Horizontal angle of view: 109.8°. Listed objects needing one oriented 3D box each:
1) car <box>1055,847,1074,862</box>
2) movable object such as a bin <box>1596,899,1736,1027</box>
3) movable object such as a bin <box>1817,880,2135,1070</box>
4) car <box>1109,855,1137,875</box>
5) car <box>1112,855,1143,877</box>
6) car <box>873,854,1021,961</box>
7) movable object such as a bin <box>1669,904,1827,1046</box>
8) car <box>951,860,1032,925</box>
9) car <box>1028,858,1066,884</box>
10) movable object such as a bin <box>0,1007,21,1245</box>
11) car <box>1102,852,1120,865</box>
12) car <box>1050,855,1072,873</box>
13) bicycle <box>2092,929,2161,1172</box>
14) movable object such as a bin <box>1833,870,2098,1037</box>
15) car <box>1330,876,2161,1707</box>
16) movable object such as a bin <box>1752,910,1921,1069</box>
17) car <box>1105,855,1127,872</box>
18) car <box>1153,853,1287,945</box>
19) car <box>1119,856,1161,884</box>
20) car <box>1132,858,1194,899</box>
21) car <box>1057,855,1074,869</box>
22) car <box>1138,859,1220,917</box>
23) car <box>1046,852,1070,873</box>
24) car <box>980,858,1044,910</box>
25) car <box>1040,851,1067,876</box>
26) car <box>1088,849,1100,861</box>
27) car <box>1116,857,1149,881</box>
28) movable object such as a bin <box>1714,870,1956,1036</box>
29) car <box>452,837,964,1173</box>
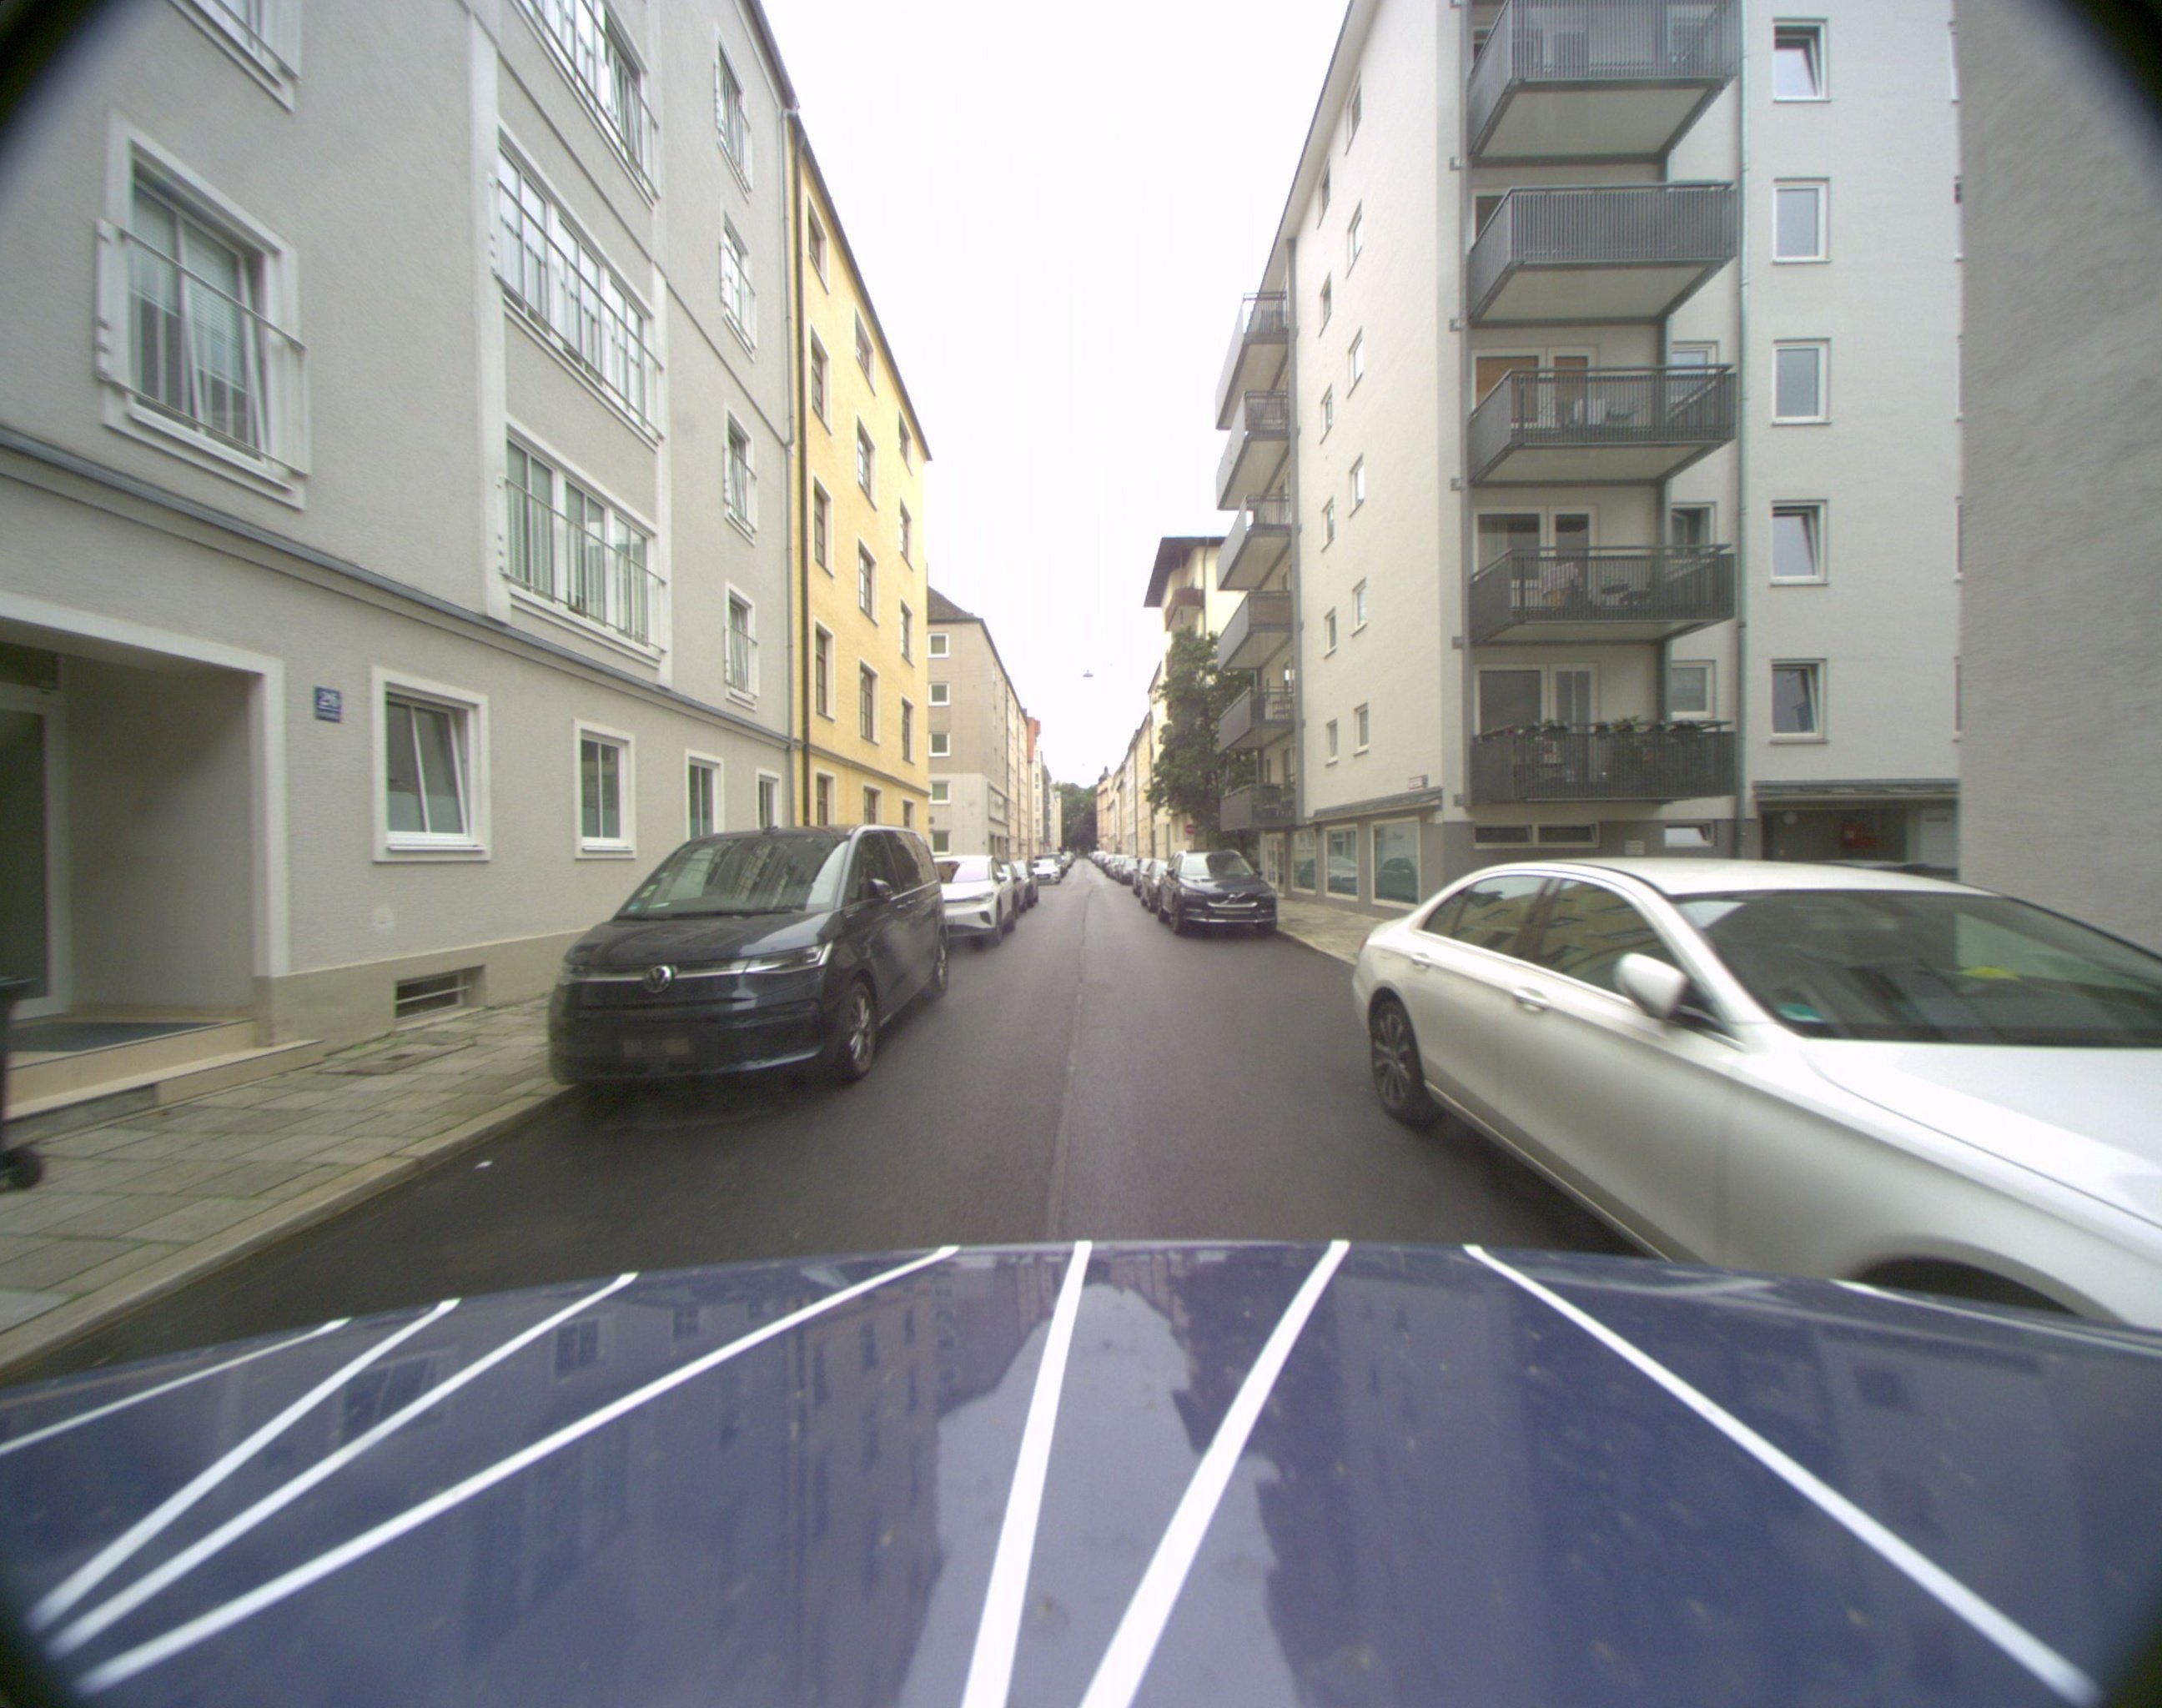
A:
[{"bbox_3d":[-1.764,0.056,82.280,1.896,1.621,4.296,-1,0,0],"label":"car"},{"bbox_3d":[5.384,0.977,7.030,0.770,1.070,0.678,-1,1,-5],"label":"movable object such as a bin"},{"bbox_3d":[6.705,0.857,5.792,1.123,1.256,1.097,-1,1,2],"label":"movable object such as a bin"},{"bbox_3d":[3.124,0.801,57.644,1.896,1.444,4.296,-1,0,0],"label":"car"},{"bbox_3d":[3.156,0.789,52.065,1.896,1.444,4.296,-1,0,0],"label":"car"},{"bbox_3d":[-2.346,0.873,14.563,1.966,1.664,4.541,-1,0,0],"label":"car"},{"bbox_3d":[5.549,0.979,6.355,0.770,1.070,0.635,-1,1,-5],"label":"movable object such as a bin"},{"bbox_3d":[-2.296,0.963,20.381,1.691,1.496,3.856,-1,0,0],"label":"car"},{"bbox_3d":[-1.954,0.962,44.610,1.972,1.369,4.296,-1,0,0],"label":"car"},{"bbox_3d":[-5.225,1.227,3.167,0.797,1.048,0.546,-1,1,-1],"label":"movable object such as a bin"},{"bbox_3d":[3.421,0.494,86.174,1.896,1.444,4.296,-1,0,0],"label":"car"},{"bbox_3d":[-1.832,0.897,70.130,1.896,1.621,4.296,-1,0,0],"label":"car"},{"bbox_3d":[5.415,0.957,3.050,0.405,1.132,1.683,-1,1,-4],"label":"bicycle"},{"bbox_3d":[8.047,0.856,7.003,1.092,1.366,1.153,-1,1,2],"label":"movable object such as a bin"},{"bbox_3d":[2.641,0.897,2.761,1.917,1.429,4.808,-1,0,0],"label":"car"},{"bbox_3d":[5.663,0.988,5.726,0.692,1.070,0.604,-1,1,-5],"label":"movable object such as a bin"},{"bbox_3d":[3.170,0.862,69.737,1.896,1.444,4.296,-1,0,0],"label":"car"},{"bbox_3d":[2.717,0.808,15.915,1.972,1.597,4.540,-1,0,0],"label":"car"},{"bbox_3d":[3.121,0.842,41.101,1.972,1.369,4.296,-1,0,0],"label":"car"},{"bbox_3d":[3.104,0.896,29.609,1.972,1.391,4.296,-1,0,0],"label":"car"},{"bbox_3d":[-1.849,0.938,90.936,1.896,1.621,4.296,-1,0,0],"label":"car"},{"bbox_3d":[2.712,0.887,21.855,1.818,1.433,4.296,-1,0,0],"label":"car"},{"bbox_3d":[-1.921,0.688,64.404,1.896,1.751,4.296,-1,0,0],"label":"car"},{"bbox_3d":[-2.187,0.917,24.876,1.691,1.496,3.856,-1,0,0],"label":"car"},{"bbox_3d":[-2.138,0.680,59.599,1.896,1.859,4.296,-1,0,0],"label":"car"},{"bbox_3d":[2.095,0.146,123.176,1.998,2.002,4.000,-2,1,1],"label":"car"},{"bbox_3d":[3.097,0.889,46.632,1.769,1.369,4.296,-1,0,0],"label":"car"},{"bbox_3d":[6.765,0.845,6.908,1.114,1.346,1.104,-1,1,2],"label":"movable object such as a bin"},{"bbox_3d":[-2.518,0.849,6.918,1.987,1.828,5.183,-3,0,0],"label":"car"}]
